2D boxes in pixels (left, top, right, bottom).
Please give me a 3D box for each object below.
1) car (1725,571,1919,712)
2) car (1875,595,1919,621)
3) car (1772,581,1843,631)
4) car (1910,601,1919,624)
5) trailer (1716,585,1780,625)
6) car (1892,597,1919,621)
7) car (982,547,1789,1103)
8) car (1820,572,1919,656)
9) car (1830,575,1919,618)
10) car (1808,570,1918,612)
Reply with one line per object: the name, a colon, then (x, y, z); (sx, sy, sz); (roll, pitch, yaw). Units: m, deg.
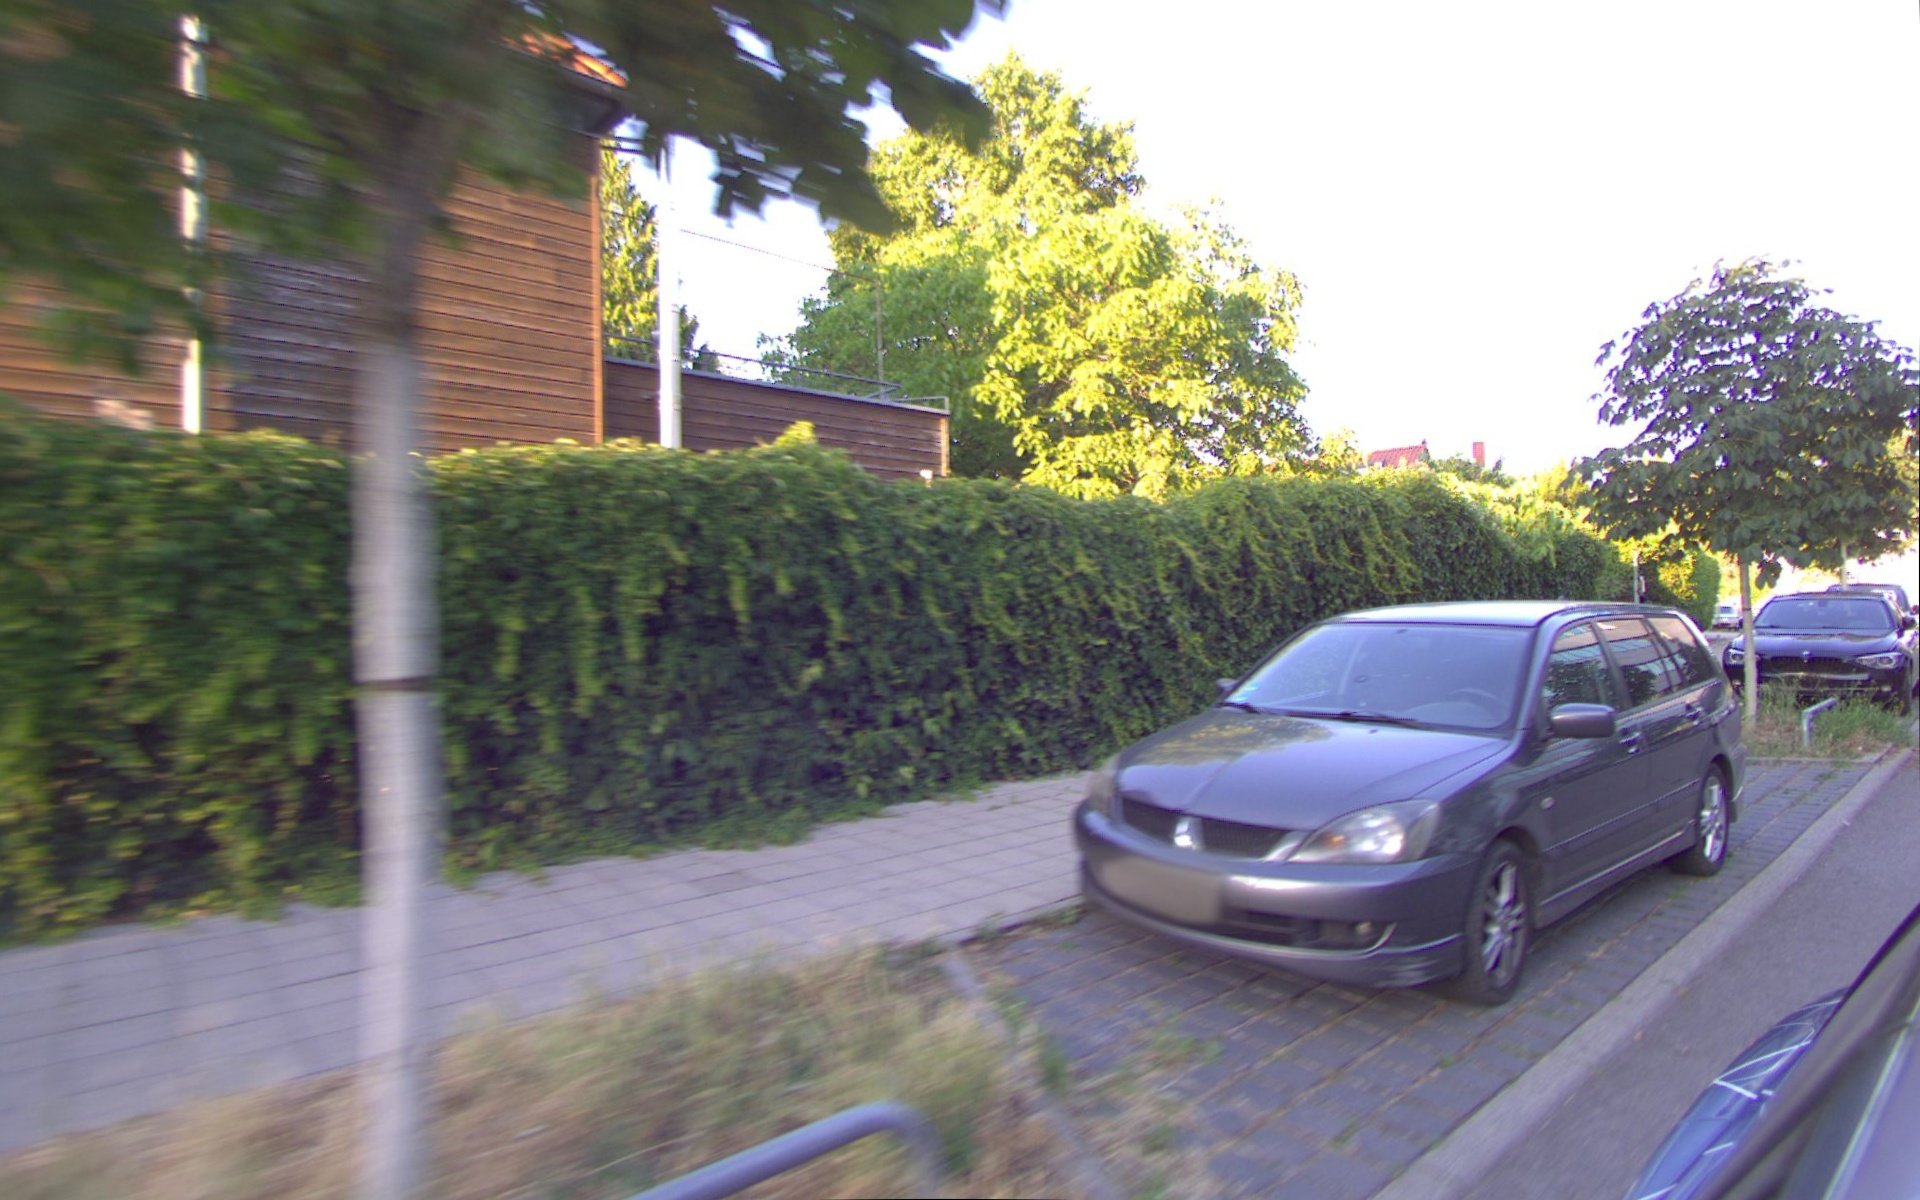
car: (11.394, 0.444, 12.981); (4.119, 1.529, 1.695); (-1, -1, -41)
car: (59.684, 0.486, 62.952); (3.601, 1.539, 1.690); (-3, -3, 25)
car: (38.517, 0.307, 46.092); (2.059, 2.122, 4.808); (-2, -2, 36)
car: (57.415, 0.630, 58.075); (3.782, 1.346, 1.677); (-3, -3, 27)
trailer: (45.446, 0.329, 58.462); (2.052, 2.240, 5.169); (-1, -2, 29)
car: (58.579, 0.452, 60.539); (3.698, 1.385, 1.690); (-3, -3, 25)
car: (2.395, 0.632, 5.014); (4.514, 1.600, 1.728); (-1, 0, -38)
car: (18.272, 0.246, 20.068); (1.578, 1.529, 3.440); (-1, -1, 45)
car: (61.031, -0.282, 66.049); (5.851, 2.566, 2.387); (-4, -2, 29)
car: (70.160, -0.658, 78.747); (5.774, 2.748, 2.035); (-4, -3, 22)
